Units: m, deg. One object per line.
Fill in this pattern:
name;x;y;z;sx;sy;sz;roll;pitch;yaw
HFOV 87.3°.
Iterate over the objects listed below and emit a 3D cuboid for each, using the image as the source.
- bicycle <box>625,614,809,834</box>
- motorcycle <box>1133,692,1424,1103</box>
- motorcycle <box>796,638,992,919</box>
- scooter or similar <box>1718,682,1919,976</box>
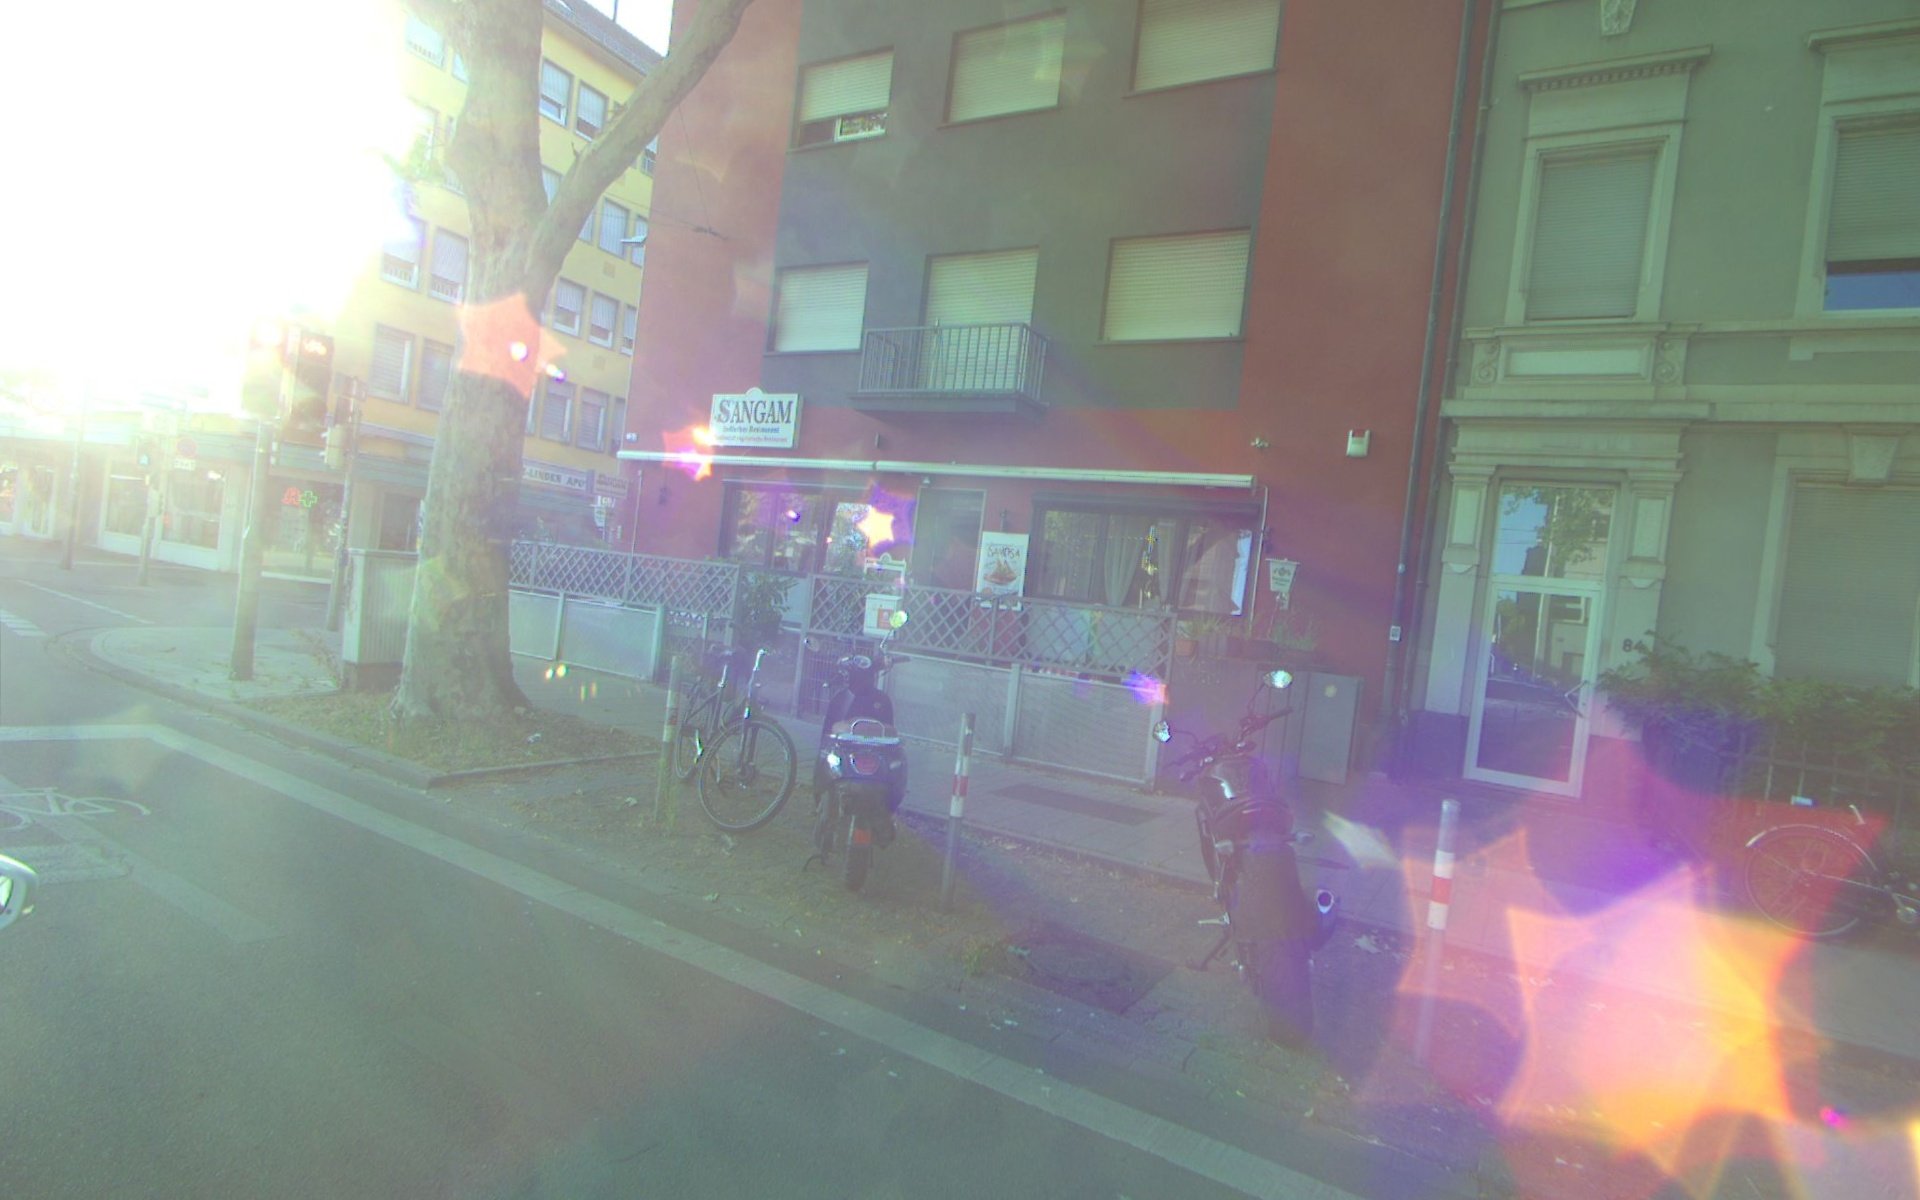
bicycle;-1.715;0.776;6.865;0.614;1.126;1.784;5;3;-31
motorcycle;1.300;1.145;4.631;0.651;1.125;2.212;7;2;4
motorcycle;-0.463;0.906;5.742;0.772;1.126;1.885;6;2;-11
scooter or similar;5.813;1.360;5.472;2.502;1.488;0.665;7;1;32
